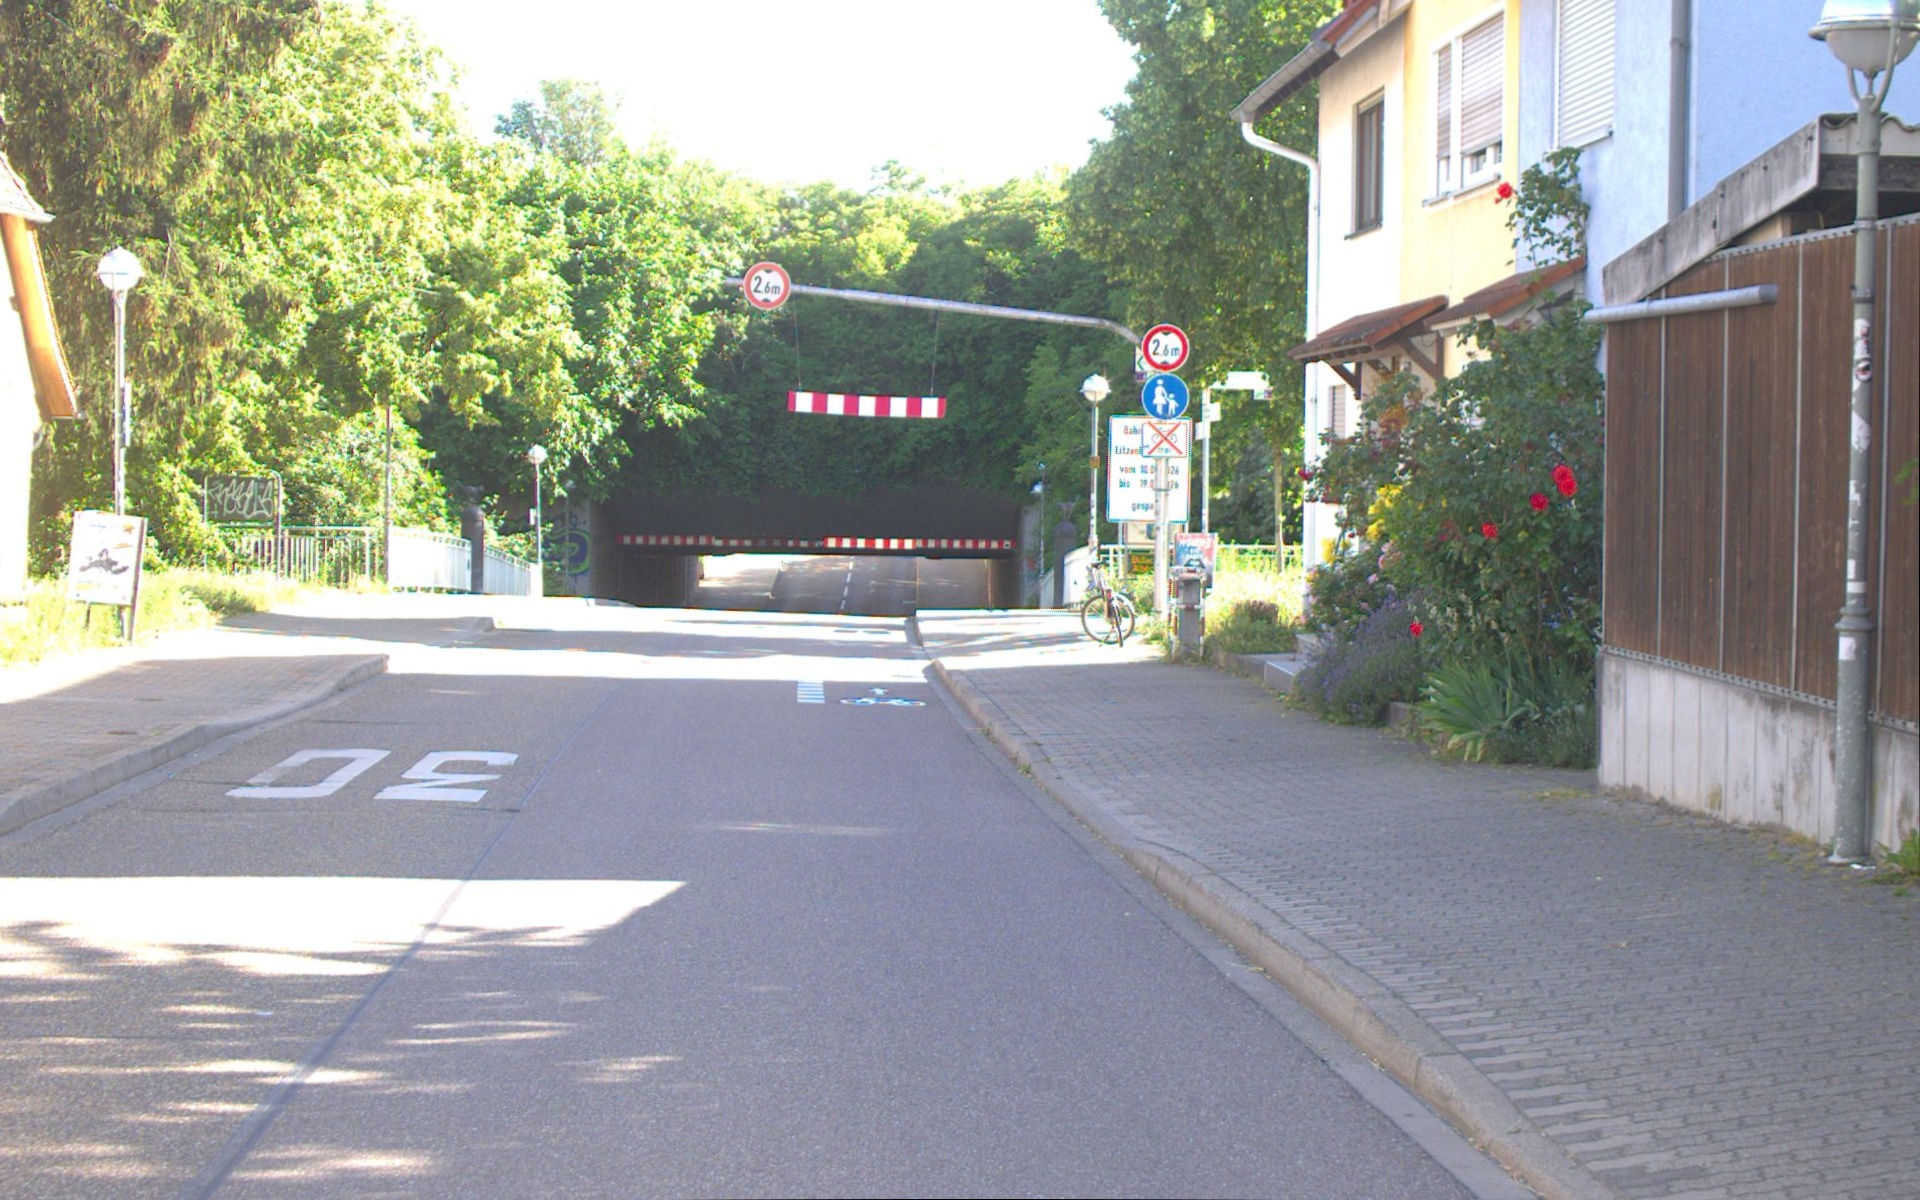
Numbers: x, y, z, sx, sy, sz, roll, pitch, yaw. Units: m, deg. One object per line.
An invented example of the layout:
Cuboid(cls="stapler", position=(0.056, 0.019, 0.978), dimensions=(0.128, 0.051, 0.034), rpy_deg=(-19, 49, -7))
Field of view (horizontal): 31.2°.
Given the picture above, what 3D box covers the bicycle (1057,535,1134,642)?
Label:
Cuboid(cls="bicycle", position=(1.580, -0.147, 40.277), dimensions=(0.688, 1.153, 1.540), rpy_deg=(-4, 2, -3))
